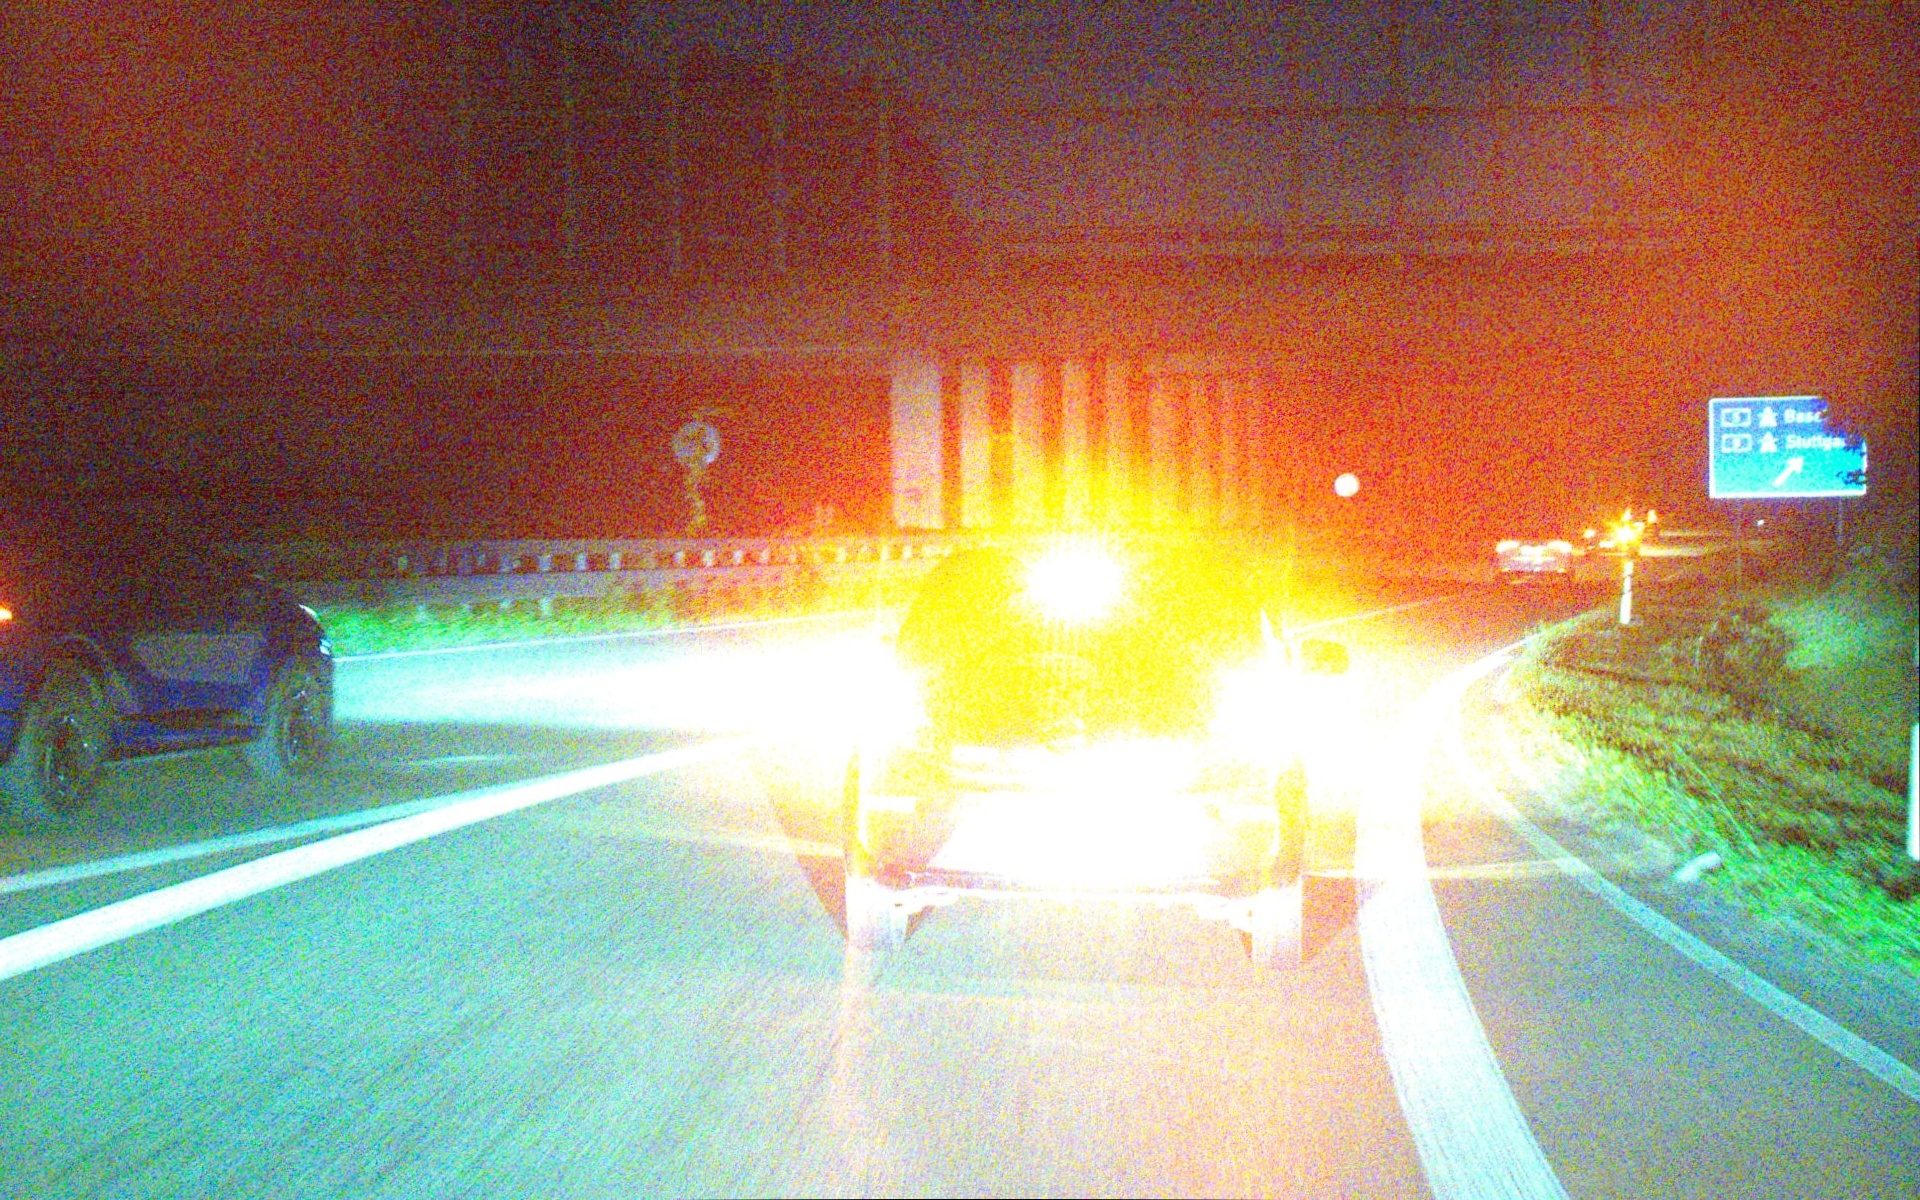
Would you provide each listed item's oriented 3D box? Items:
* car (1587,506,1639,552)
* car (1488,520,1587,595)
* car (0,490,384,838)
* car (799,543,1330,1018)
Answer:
[{"bbox_3d":[24.020,-2.614,126.379,1.734,1.612,3.796,1,1,13],"label":"car"},{"bbox_3d":[13.401,-0.959,79.621,1.952,1.533,4.238,-3,-1,12],"label":"car"},{"bbox_3d":[-4.869,0.237,17.993,1.941,1.603,4.640,2,1,14],"label":"car"},{"bbox_3d":[0.297,0.565,13.342,1.691,1.472,4.000,2,1,-1],"label":"car"}]
